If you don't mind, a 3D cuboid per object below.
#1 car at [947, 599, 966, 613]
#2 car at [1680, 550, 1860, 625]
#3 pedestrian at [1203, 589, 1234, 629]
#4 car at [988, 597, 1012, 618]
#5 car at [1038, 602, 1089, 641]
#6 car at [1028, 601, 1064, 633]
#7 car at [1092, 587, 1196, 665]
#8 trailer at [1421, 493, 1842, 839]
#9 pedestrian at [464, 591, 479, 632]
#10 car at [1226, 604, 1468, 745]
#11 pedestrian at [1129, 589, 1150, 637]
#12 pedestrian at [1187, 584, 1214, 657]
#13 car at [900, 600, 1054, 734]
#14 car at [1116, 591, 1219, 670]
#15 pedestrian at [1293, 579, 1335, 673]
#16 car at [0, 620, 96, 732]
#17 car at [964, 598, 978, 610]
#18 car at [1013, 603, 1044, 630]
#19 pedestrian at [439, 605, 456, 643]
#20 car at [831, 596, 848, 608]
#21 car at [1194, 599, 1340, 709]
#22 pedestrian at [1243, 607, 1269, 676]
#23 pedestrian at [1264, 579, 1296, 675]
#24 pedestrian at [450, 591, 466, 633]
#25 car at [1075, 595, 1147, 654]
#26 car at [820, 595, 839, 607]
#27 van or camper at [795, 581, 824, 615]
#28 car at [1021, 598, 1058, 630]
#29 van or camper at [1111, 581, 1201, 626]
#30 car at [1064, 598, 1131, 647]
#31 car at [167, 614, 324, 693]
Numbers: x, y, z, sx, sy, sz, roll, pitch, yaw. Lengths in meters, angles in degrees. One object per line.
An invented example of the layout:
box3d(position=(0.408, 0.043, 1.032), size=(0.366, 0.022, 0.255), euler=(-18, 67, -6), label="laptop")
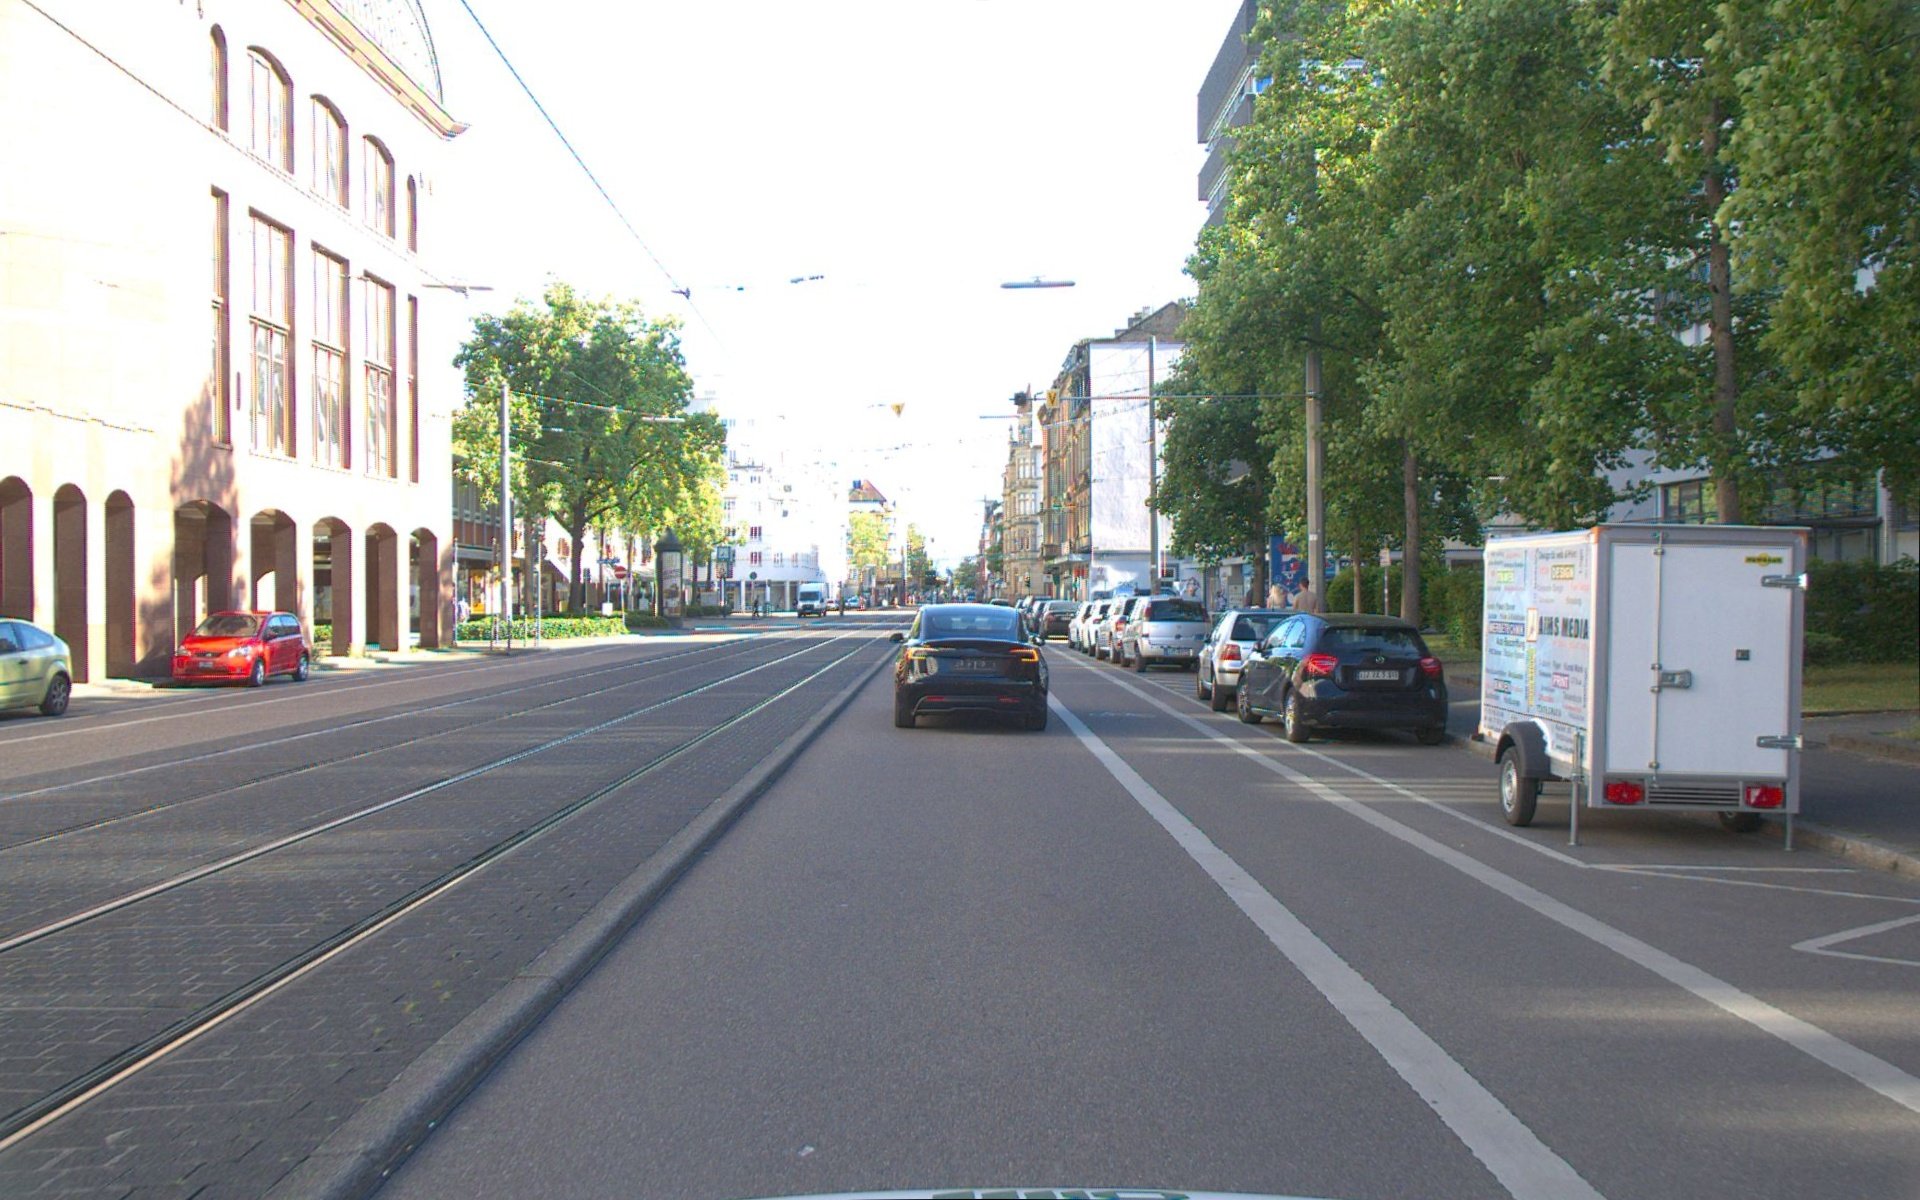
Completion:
box3d(position=(-0.419, 0.687, 190.429), size=(1.954, 1.552, 3.996), euler=(0, 0, -4), label="car")
box3d(position=(18.107, -0.310, 37.198), size=(1.754, 1.563, 4.307), euler=(-1, 1, -3), label="car")
box3d(position=(11.567, 0.385, 74.069), size=(1.130, 1.759, 1.043), euler=(-1, 1, 24), label="pedestrian")
box3d(position=(2.808, 0.541, 116.321), size=(1.561, 1.458, 3.686), euler=(-1, 0, 0), label="car")
box3d(position=(4.099, 0.852, 66.007), size=(1.676, 1.482, 4.549), euler=(1, 0, -1), label="car")
box3d(position=(4.004, 0.794, 77.495), size=(1.431, 1.457, 3.812), euler=(0, -1, -1), label="car")
box3d(position=(4.579, 0.606, 41.832), size=(1.887, 1.866, 4.709), euler=(0, 0, -3), label="car")
box3d(position=(4.781, 0.419, 12.380), size=(1.626, 2.154, 3.843), euler=(1, 0, 1), label="trailer")
box3d(position=(-22.037, 0.534, 74.670), size=(0.535, 1.833, 0.587), euler=(1, 0, -9), label="pedestrian")
box3d(position=(4.532, 0.811, 20.043), size=(1.766, 1.460, 4.322), euler=(2, 0, -2), label="car")
box3d(position=(7.015, 0.497, 64.603), size=(0.707, 1.844, 0.889), euler=(-1, 0, 0), label="pedestrian")
box3d(position=(6.183, 0.524, 42.512), size=(0.598, 1.839, 0.603), euler=(-2, 0, 4), label="pedestrian")
box3d(position=(0.144, 0.748, 20.181), size=(1.685, 1.430, 3.709), euler=(1, 0, -1), label="car")
box3d(position=(4.575, 0.633, 36.988), size=(1.679, 1.618, 4.064), euler=(1, 0, -2), label="car")
box3d(position=(7.453, 0.538, 34.847), size=(0.654, 1.930, 0.748), euler=(-4, 0, 5), label="pedestrian")
box3d(position=(-14.231, 1.084, 23.543), size=(1.635, 1.494, 4.290), euler=(1, 0, -1), label="car")
box3d(position=(1.473, 0.539, 222.643), size=(1.808, 1.620, 4.000), euler=(-1, 0, 0), label="car")
box3d(position=(4.075, 0.970, 98.599), size=(1.680, 1.498, 3.719), euler=(-1, 0, 0), label="car")
box3d(position=(-25.477, 1.197, 82.251), size=(0.614, 1.879, 0.673), euler=(1, 0, -3), label="pedestrian")
box3d(position=(-16.257, 0.294, 223.472), size=(1.953, 1.521, 4.000), euler=(-1, 0, 0), label="car")
box3d(position=(4.538, 0.744, 24.995), size=(1.713, 1.468, 4.317), euler=(0, 0, 4), label="car")
box3d(position=(6.272, 0.880, 35.051), size=(0.446, 1.422, 0.423), euler=(-3, 0, 4), label="pedestrian")
box3d(position=(6.778, 0.563, 35.019), size=(0.455, 1.988, 0.748), euler=(-4, 0, 5), label="pedestrian")
box3d(position=(-22.630, 0.540, 74.573), size=(0.580, 1.905, 0.537), euler=(1, 0, -9), label="pedestrian")
box3d(position=(4.290, 0.667, 47.491), size=(1.510, 1.597, 4.441), euler=(1, 0, -2), label="car")
box3d(position=(-15.600, 0.160, 198.535), size=(1.953, 1.392, 4.000), euler=(-1, 0, 0), label="car")
box3d(position=(-12.547, -0.162, 138.320), size=(2.097, 2.700, 6.877), euler=(-1, 0, -2), label="van or camper")
box3d(position=(4.219, 0.748, 87.830), size=(1.791, 1.657, 4.095), euler=(0, -1, 0), label="car")
box3d(position=(10.466, 0.189, 88.633), size=(4.547, 2.173, 1.988), euler=(-3, -1, 3), label="van or camper")
box3d(position=(4.349, 0.705, 52.797), size=(1.570, 1.469, 3.882), euler=(2, 0, -3), label="car")
box3d(position=(-14.460, 1.047, 33.657), size=(1.625, 1.447, 3.619), euler=(1, 0, -1), label="car")
